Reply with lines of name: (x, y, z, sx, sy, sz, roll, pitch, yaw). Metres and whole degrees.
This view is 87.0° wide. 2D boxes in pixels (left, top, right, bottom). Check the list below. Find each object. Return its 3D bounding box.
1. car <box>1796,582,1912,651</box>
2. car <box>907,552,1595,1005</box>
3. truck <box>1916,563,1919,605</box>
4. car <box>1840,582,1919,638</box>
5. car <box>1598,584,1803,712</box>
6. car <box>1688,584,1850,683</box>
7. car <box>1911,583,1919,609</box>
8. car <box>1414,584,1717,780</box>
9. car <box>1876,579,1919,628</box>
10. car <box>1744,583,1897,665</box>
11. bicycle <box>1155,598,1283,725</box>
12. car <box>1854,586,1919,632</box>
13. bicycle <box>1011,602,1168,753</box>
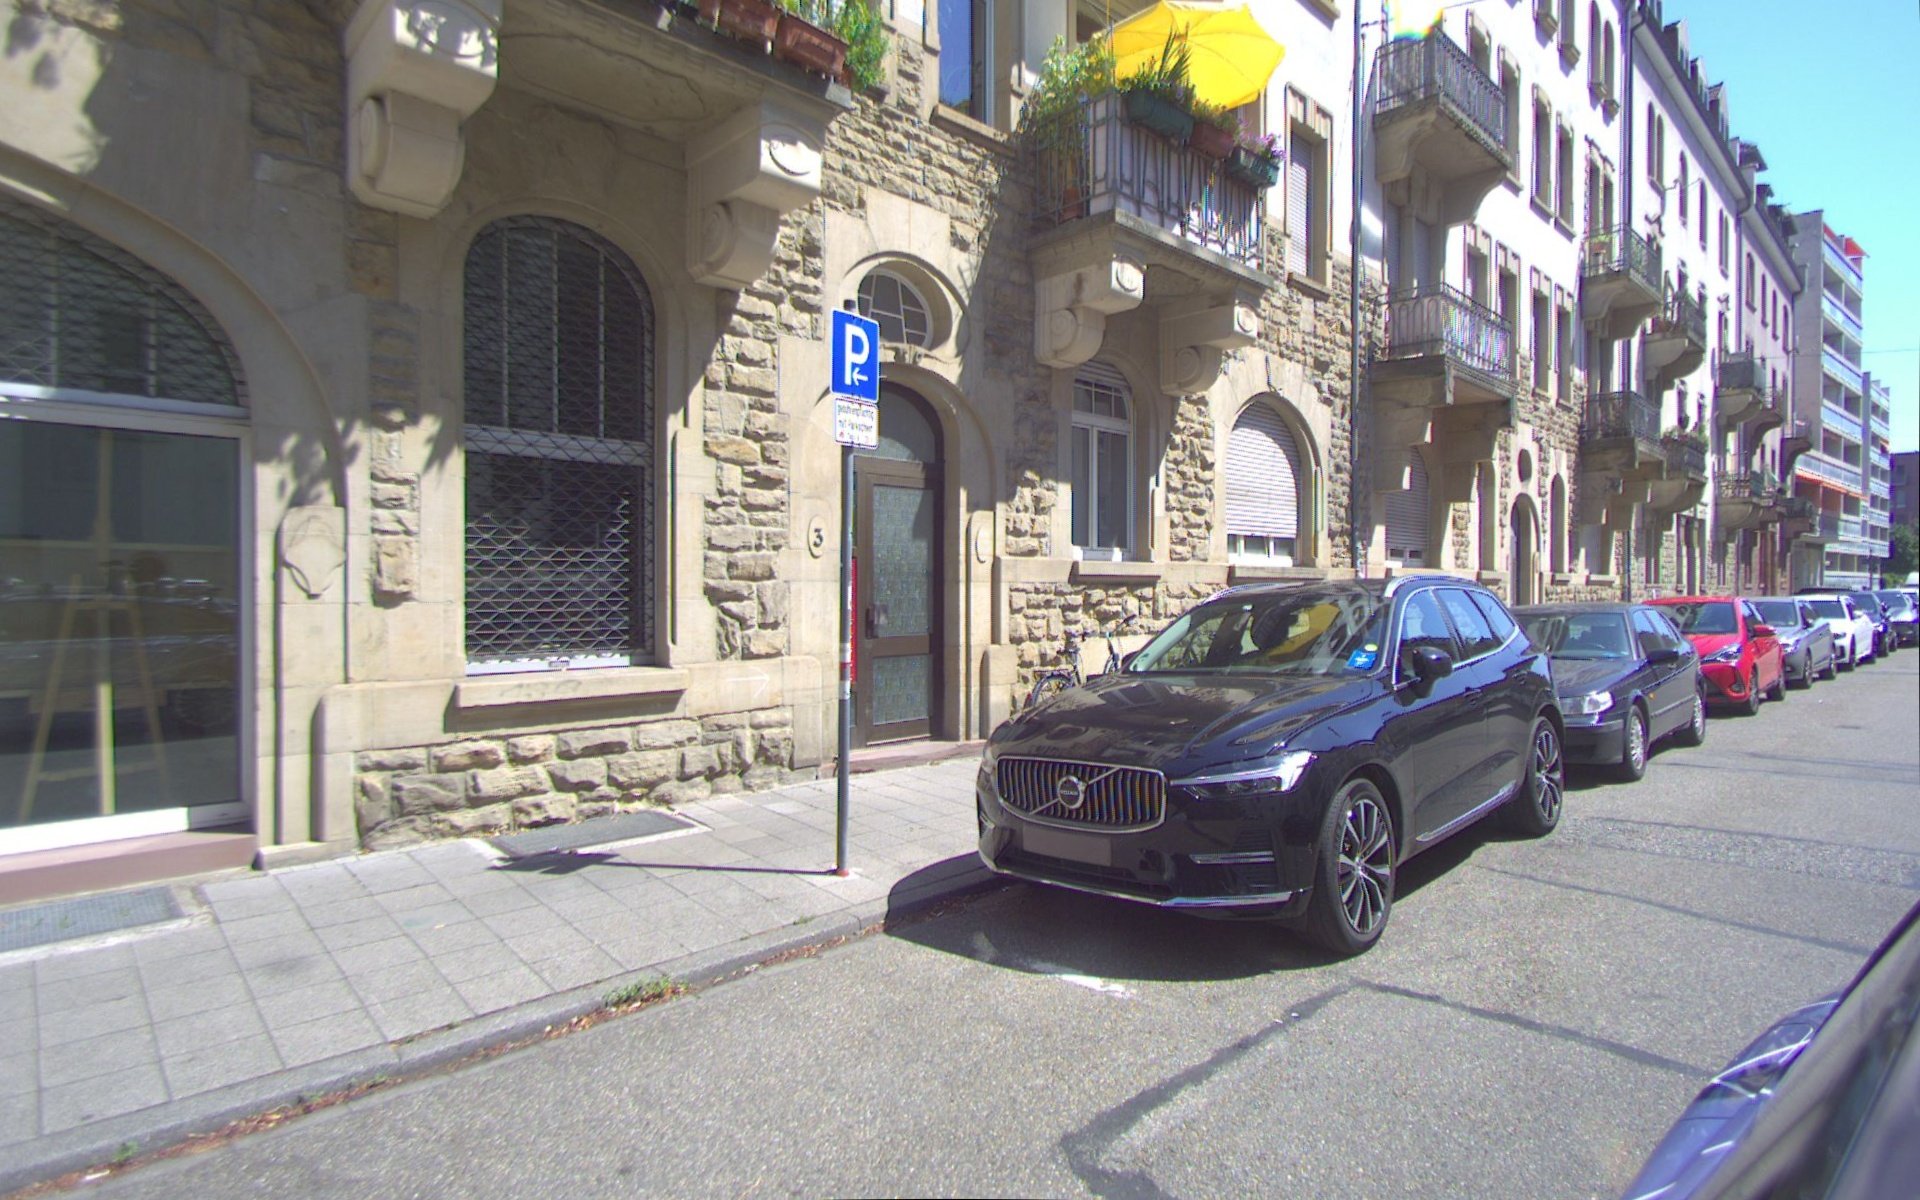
car: (21.689, 0.329, 24.496, 4.591, 1.476, 1.738, -1, 2, -44)
car: (1.995, 0.615, 5.828, 1.833, 1.587, 4.531, -3, -1, 45)
truck: (65.801, -1.098, 68.074, 4.433, 2.765, 1.867, -1, 1, -43)
car: (26.068, 0.244, 28.391, 1.823, 1.450, 4.418, 0, 0, 44)
car: (10.094, 0.558, 13.689, 3.779, 1.471, 1.571, -1, -1, -44)
car: (13.815, 0.511, 17.212, 3.792, 1.471, 1.591, -1, -1, -43)
car: (61.249, -0.254, 63.736, 3.933, 1.571, 1.715, -1, 2, -43)
car: (5.705, 0.597, 9.318, 1.512, 1.416, 3.910, -3, -1, 44)
car: (33.717, 0.086, 35.589, 4.018, 1.642, 1.652, -1, 2, -39)
car: (17.720, 0.442, 20.764, 4.518, 1.471, 1.718, -1, -1, -41)
bicycle: (2.772, 0.606, 10.742, 1.745, 1.223, 0.442, -1, 1, -43)
car: (29.988, 0.253, 32.326, 4.279, 1.375, 1.788, -1, 1, -43)
bicycle: (1.211, 0.652, 9.199, 1.745, 1.223, 0.385, -1, 1, -43)
